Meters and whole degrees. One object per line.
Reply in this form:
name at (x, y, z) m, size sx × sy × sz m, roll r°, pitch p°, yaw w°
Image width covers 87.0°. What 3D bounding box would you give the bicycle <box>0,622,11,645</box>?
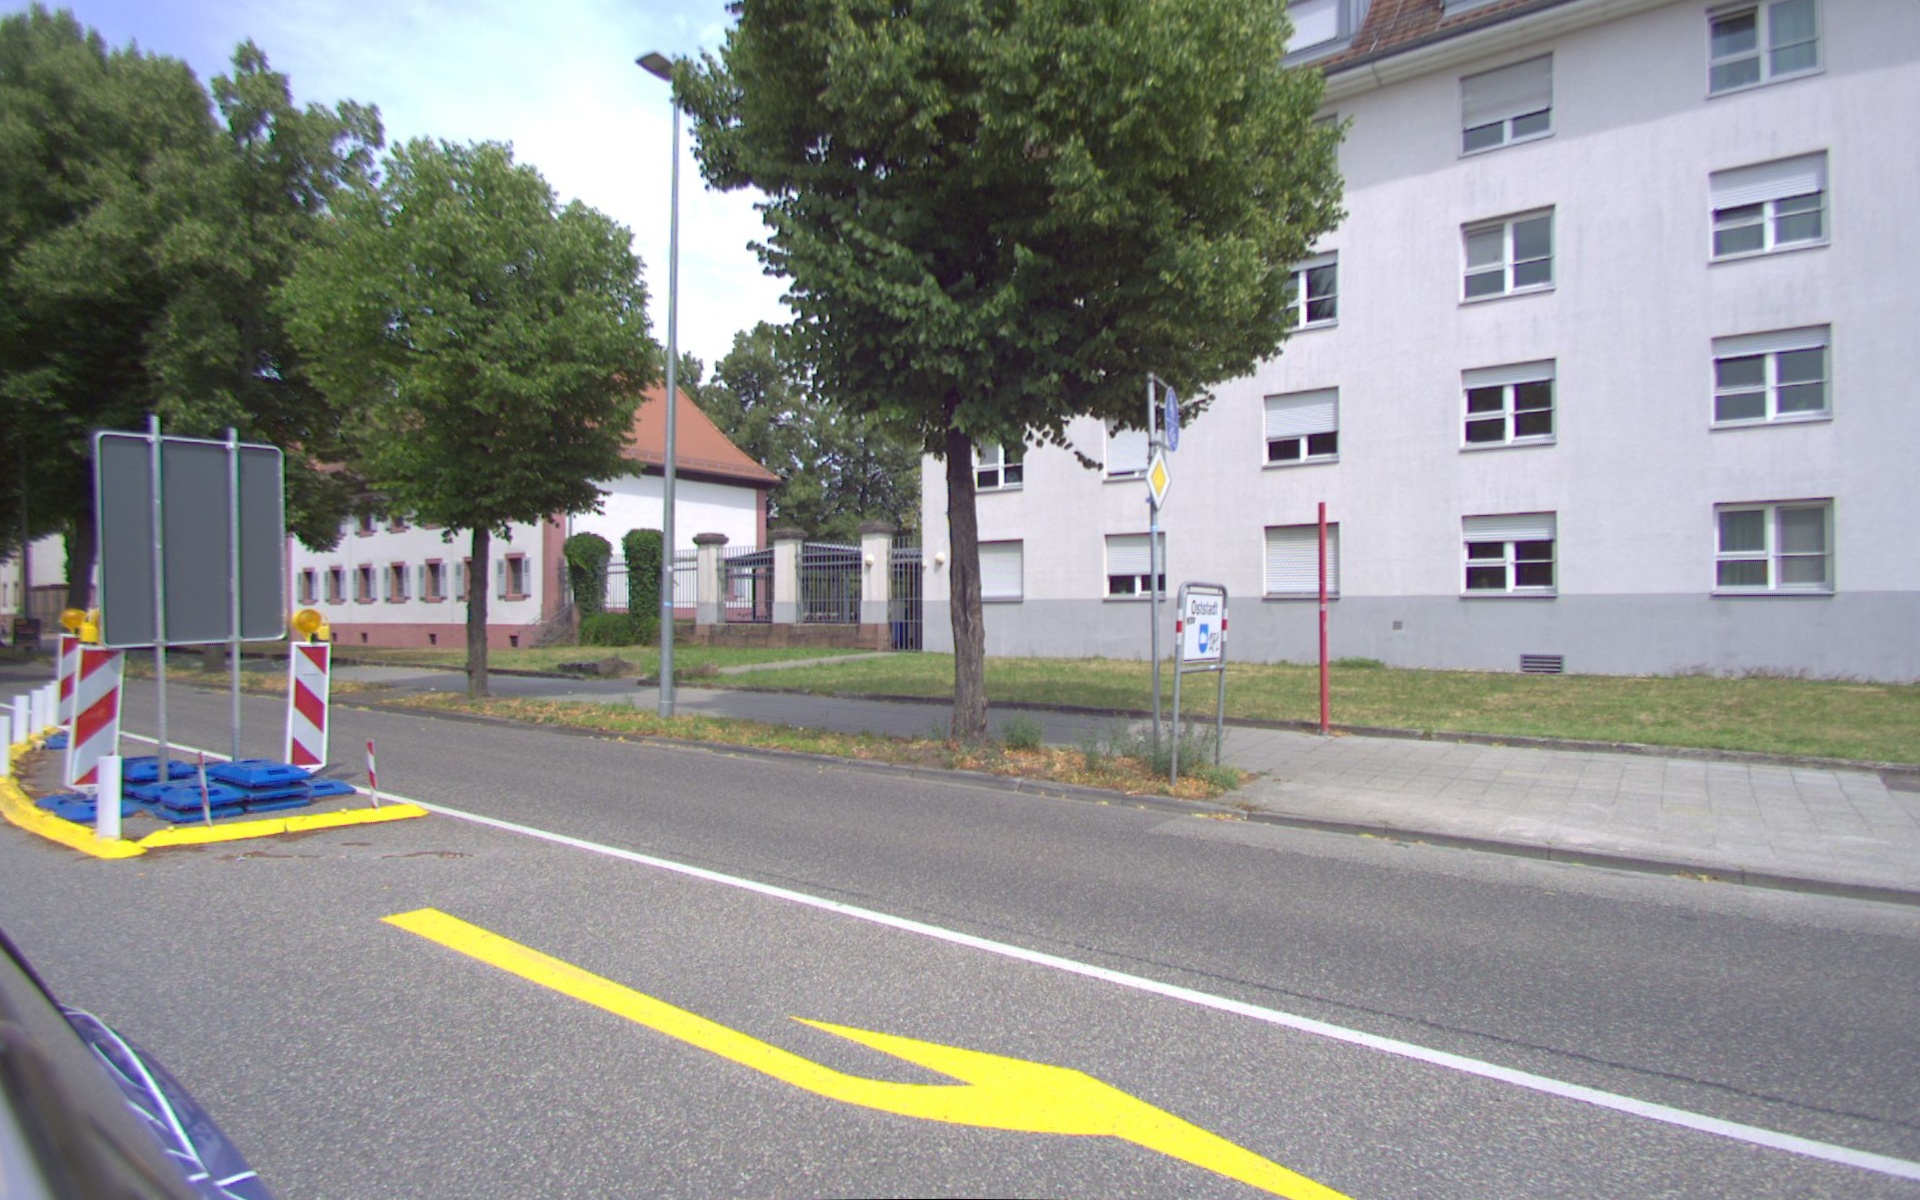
bicycle at (-48.179, 1.700, 50.541) m, size 2.220 × 1.103 × 0.716 m, roll -2°, pitch 2°, yaw 36°
